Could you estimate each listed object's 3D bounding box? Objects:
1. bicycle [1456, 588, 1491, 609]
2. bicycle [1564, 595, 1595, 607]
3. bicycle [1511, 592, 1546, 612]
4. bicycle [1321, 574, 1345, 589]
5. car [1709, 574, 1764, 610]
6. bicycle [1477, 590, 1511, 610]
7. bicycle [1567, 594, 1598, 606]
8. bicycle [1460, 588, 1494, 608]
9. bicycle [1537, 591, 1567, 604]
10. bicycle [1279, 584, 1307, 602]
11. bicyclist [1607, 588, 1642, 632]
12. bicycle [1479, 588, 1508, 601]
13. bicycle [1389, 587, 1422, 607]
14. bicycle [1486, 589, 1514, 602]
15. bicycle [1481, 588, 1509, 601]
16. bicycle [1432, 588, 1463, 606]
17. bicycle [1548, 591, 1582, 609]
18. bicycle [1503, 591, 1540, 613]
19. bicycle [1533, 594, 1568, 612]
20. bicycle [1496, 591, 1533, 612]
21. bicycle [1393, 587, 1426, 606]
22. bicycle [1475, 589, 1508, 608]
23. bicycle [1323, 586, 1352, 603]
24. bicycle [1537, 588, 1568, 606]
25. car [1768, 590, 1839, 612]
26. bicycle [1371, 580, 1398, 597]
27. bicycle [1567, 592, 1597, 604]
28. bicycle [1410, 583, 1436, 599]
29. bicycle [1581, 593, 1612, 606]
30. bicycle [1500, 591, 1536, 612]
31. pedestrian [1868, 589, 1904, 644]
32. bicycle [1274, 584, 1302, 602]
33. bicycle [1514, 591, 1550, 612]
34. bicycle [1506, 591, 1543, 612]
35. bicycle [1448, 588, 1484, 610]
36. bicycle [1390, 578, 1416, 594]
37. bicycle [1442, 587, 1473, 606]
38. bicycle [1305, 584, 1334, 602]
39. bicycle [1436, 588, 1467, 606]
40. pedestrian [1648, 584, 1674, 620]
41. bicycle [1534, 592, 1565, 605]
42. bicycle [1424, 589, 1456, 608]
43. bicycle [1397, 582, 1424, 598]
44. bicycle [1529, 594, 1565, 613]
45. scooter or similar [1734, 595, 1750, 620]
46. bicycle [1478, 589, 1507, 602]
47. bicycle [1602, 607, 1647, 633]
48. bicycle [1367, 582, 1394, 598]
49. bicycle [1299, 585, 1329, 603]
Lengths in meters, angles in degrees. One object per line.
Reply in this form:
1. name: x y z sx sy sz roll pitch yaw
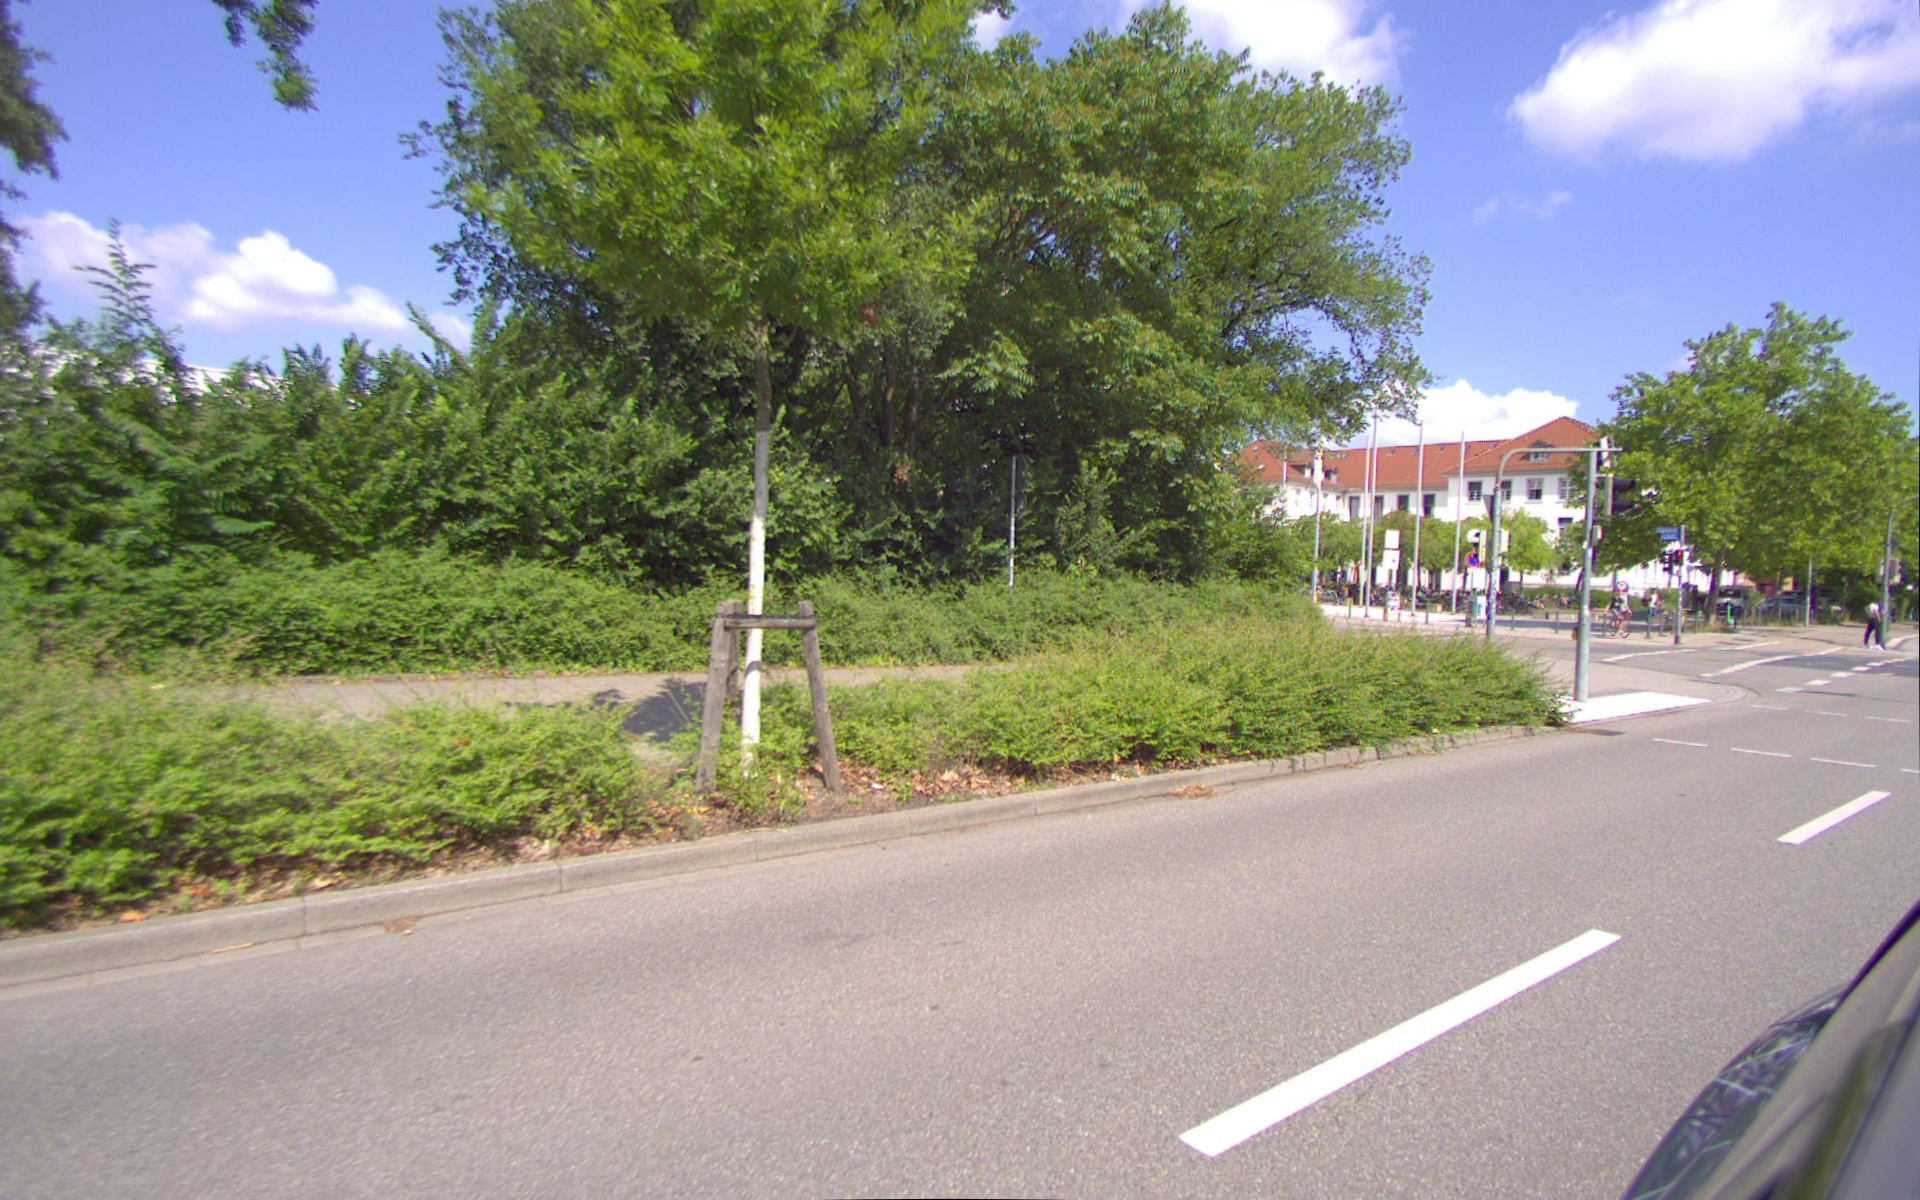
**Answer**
1. bicycle: 29.606 -0.087 58.390 1.668 1.110 0.617 4 2 45
2. bicycle: 41.021 0.064 67.021 1.668 0.743 0.617 4 2 44
3. bicycle: 32.793 0.112 58.385 1.668 1.110 0.617 4 2 45
4. bicycle: 29.899 -1.472 81.041 1.668 1.110 0.617 4 2 45
5. car: 46.807 -0.489 60.975 1.995 2.038 4.823 4 2 45
6. bicycle: 32.366 0.011 61.367 1.668 1.110 0.617 4 2 45
7. bicycle: 41.632 -0.005 67.662 1.668 0.743 0.617 4 2 44
8. bicycle: 30.083 -0.111 58.905 1.668 1.110 0.617 4 2 45
9. bicycle: 40.182 -0.142 68.680 1.667 0.800 0.617 4 2 43
10. bicycle: 22.244 -0.478 67.563 1.668 1.110 0.617 4 2 44
11. bicyclist: 23.979 0.361 36.522 0.601 1.525 0.919 2 1 1
12. bicycle: 37.803 -0.403 71.724 1.669 0.799 0.617 5 3 44
13. bicycle: 27.024 -0.191 61.435 1.668 1.110 0.617 4 2 44
14. bicycle: 39.181 -0.327 73.398 1.668 0.800 0.617 4 2 44
15. bicycle: 38.240 -0.385 72.321 1.668 0.800 0.617 4 2 44
16. bicycle: 30.923 -0.199 64.187 1.668 1.110 0.617 4 2 45
17. bicycle: 37.280 0.005 62.392 1.668 1.040 0.617 4 2 45
18. bicycle: 31.651 0.104 57.035 1.668 1.110 0.617 4 2 45
19. bicycle: 34.995 0.177 60.014 1.668 0.997 0.617 4 2 45
20. bicycle: 30.736 0.071 56.115 1.668 1.110 0.617 4 2 45
21. bicycle: 27.475 -0.211 61.877 1.668 1.110 0.617 4 2 44
22. bicycle: 32.946 -0.113 62.731 1.668 1.110 0.617 4 2 45
23. bicycle: 25.270 -0.366 67.798 1.668 1.110 0.617 4 2 45
24. bicycle: 39.126 -0.196 66.837 1.668 1.110 0.617 4 2 45
25. car: 63.397 0.028 76.108 3.984 1.442 1.732 4 2 41
26. bicycle: 30.492 -0.826 72.757 1.668 1.110 0.617 4 2 45
27. bicycle: 42.116 -0.136 68.540 1.668 0.743 0.617 4 2 44
28. bicycle: 35.253 -0.680 77.072 1.668 1.110 0.617 4 2 45
29. bicycle: 43.144 -0.031 68.599 1.668 0.743 0.617 4 2 44
30. bicycle: 31.187 0.088 56.572 1.668 1.110 0.617 4 2 45
31. pedestrian: 33.093 0.577 36.174 0.925 1.847 0.701 0 5 -40
32. bicycle: 21.731 -0.484 67.059 1.668 1.110 0.617 4 2 44
33. bicycle: 33.262 0.081 58.864 1.668 1.110 0.617 4 2 45
34. bicycle: 32.112 0.090 57.582 1.668 1.110 0.617 4 2 45
35. bicycle: 28.691 -0.060 57.396 1.668 1.110 0.617 4 2 45
36. bicycle: 32.858 -1.034 75.090 1.668 1.110 0.617 4 2 45
37. bicycle: 32.215 -0.230 65.569 1.668 1.110 0.617 4 2 45
38. bicycle: 23.552 -0.464 66.317 1.668 1.110 0.617 4 2 44
39. bicycle: 31.517 -0.201 64.868 1.668 1.110 0.617 4 2 45
40. pedestrian: 33.700 0.101 48.654 0.628 1.670 0.742 2 1 3
41. bicycle: 39.708 -0.128 68.191 1.667 0.800 0.617 4 2 43
42. bicycle: 30.145 -0.075 63.620 1.668 1.110 0.617 4 2 45
43. bicycle: 34.025 -0.740 76.448 1.668 1.110 0.617 4 2 45
44. bicycle: 34.527 0.203 59.520 1.668 1.048 0.617 4 2 45
45. scooter or similar: 36.810 0.368 47.634 1.147 1.142 0.347 1 2 -40
46. bicycle: 37.149 -0.332 70.631 1.668 0.800 0.617 4 2 44
47. bicycle: 23.967 0.703 36.526 0.608 0.843 1.515 2 2 1
48. bicycle: 29.949 -0.722 72.115 1.668 1.110 0.617 4 2 45
49. bicycle: 23.024 -0.371 65.823 1.668 1.110 0.617 4 2 44
